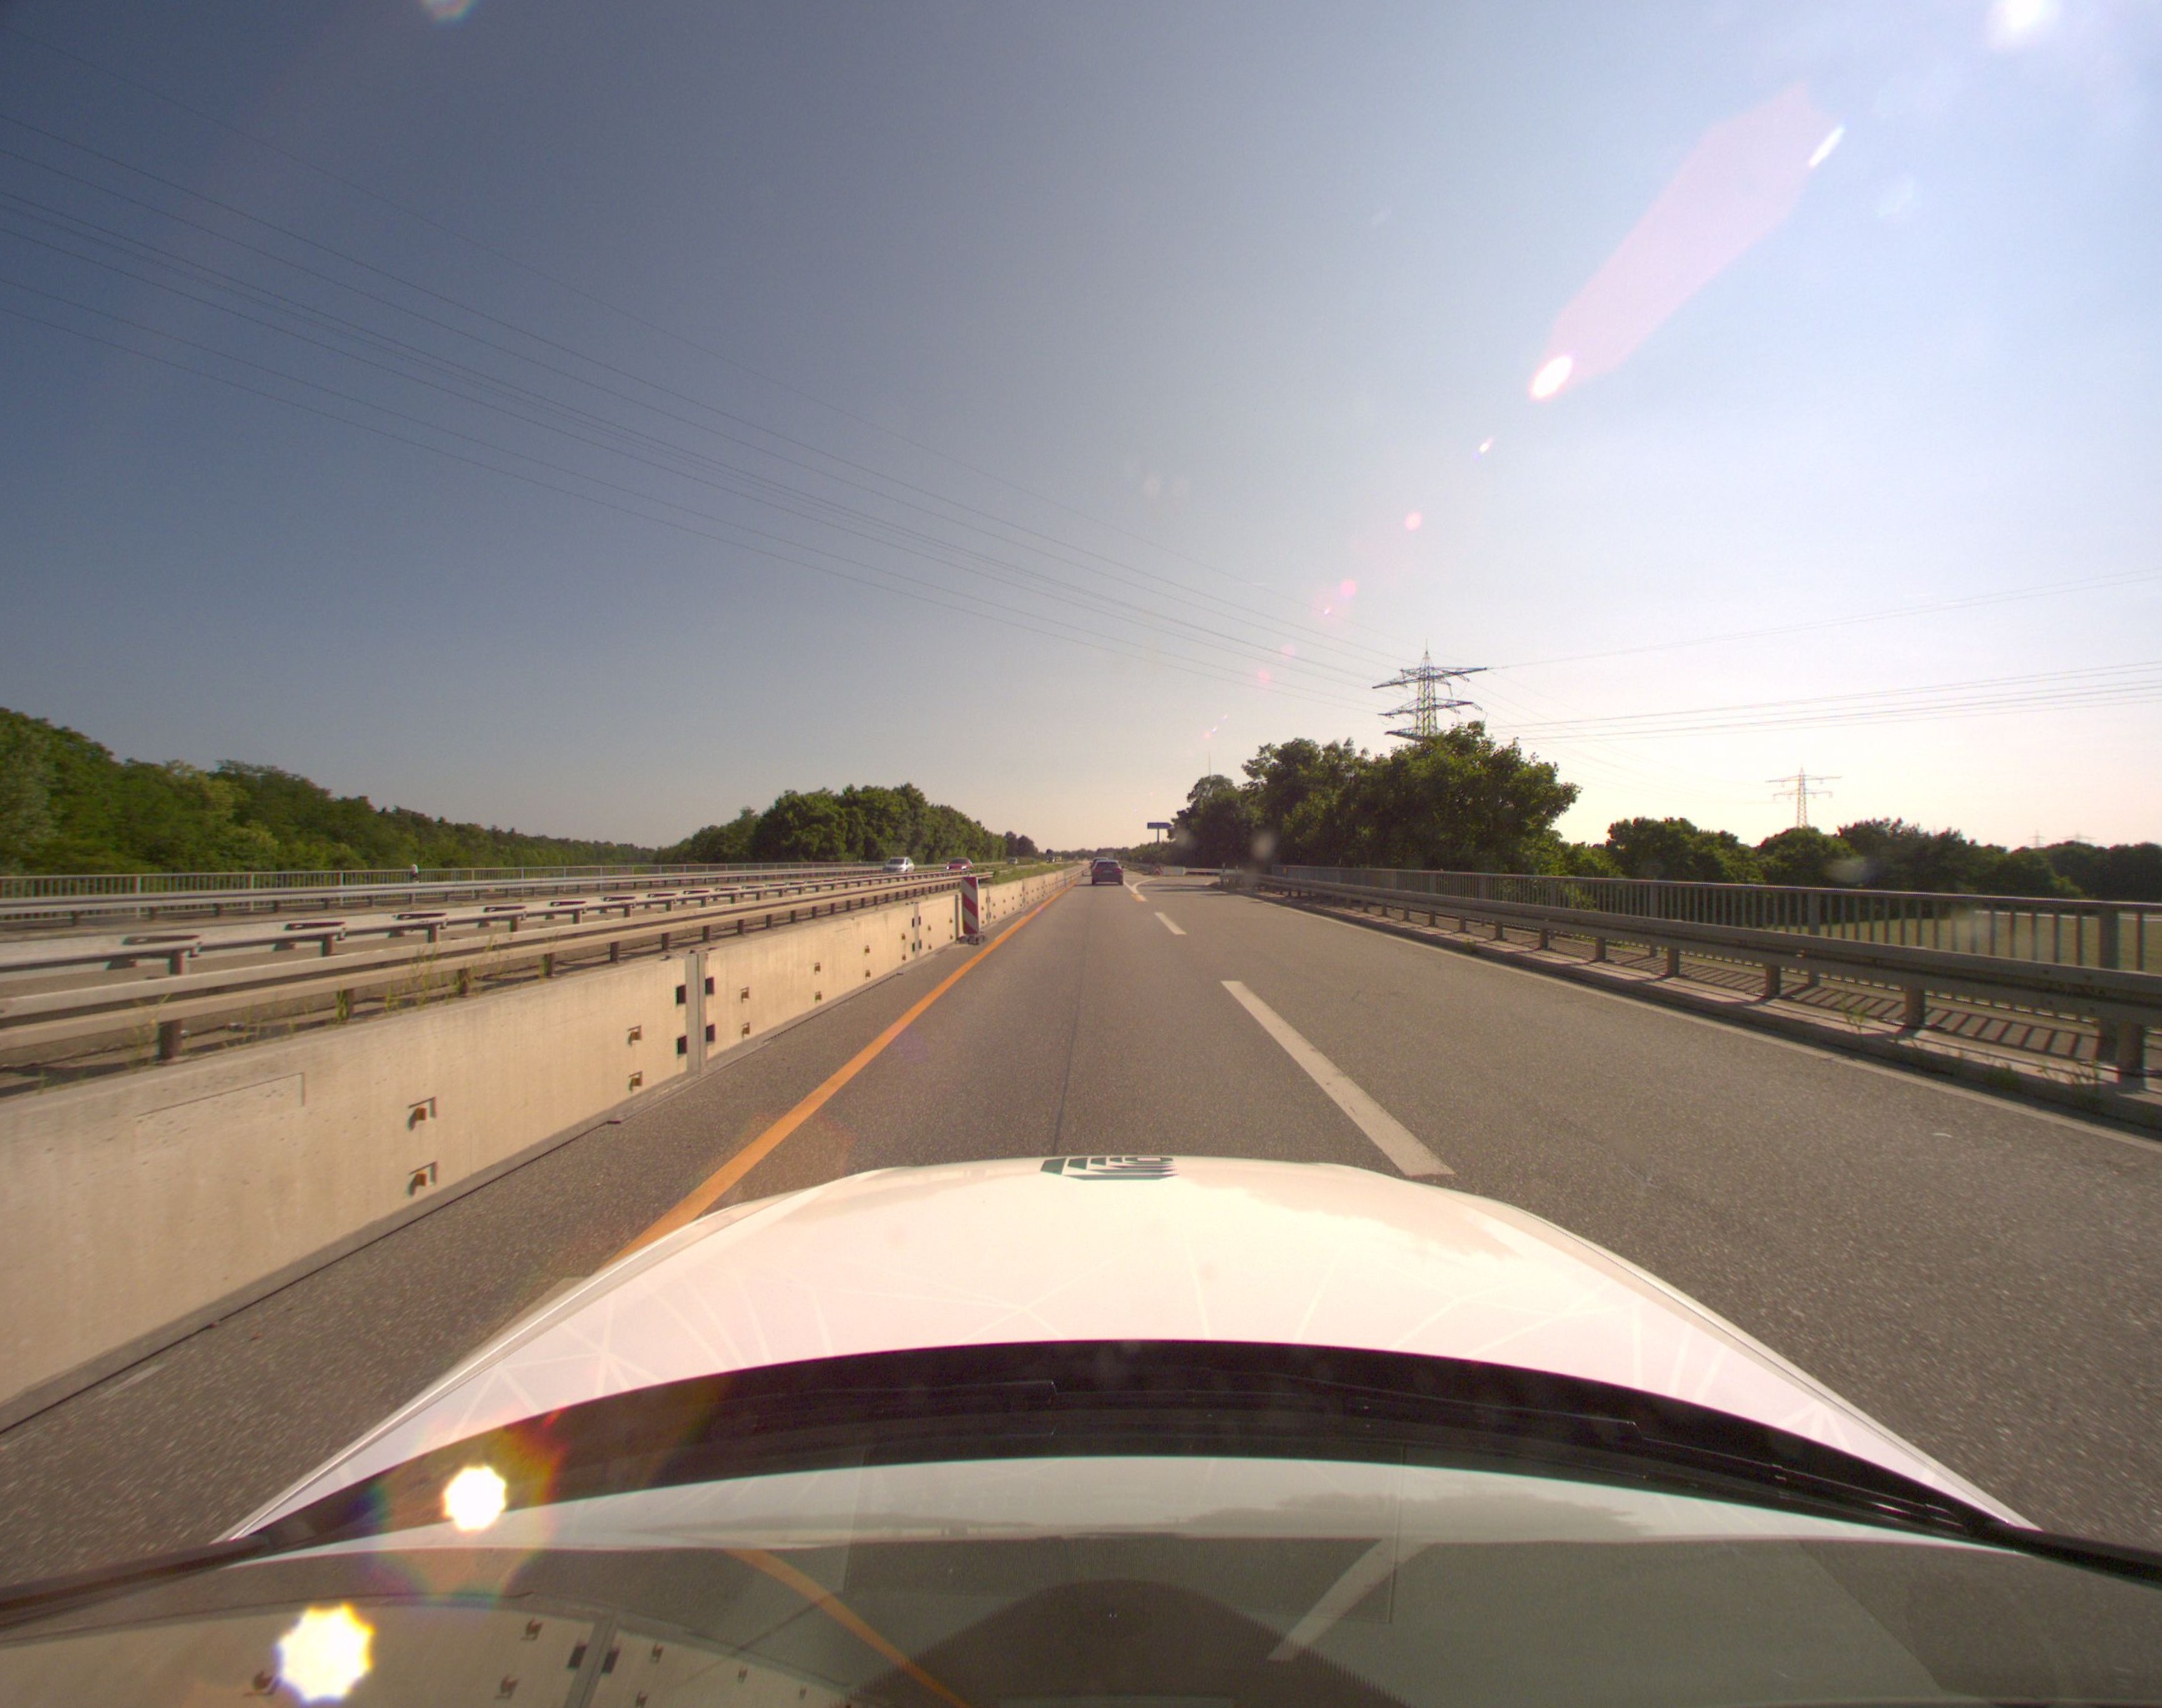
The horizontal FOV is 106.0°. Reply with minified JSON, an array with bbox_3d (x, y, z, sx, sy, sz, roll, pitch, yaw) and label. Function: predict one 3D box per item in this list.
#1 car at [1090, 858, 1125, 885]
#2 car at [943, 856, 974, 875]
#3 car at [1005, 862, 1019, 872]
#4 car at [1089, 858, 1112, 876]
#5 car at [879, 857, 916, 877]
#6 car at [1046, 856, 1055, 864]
[{"bbox_3d":[1.485,0.956,46.653,1.914,1.494,3.999,0,0,0],"label":"car"},{"bbox_3d":[-9.422,0.903,63.072,1.708,1.397,4.221,0,0,1],"label":"car"},{"bbox_3d":[-11.641,2.146,138.061,1.756,1.583,4.424,-1,-1,2],"label":"car"},{"bbox_3d":[1.798,1.137,73.131,1.986,1.567,4.002,-1,0,2],"label":"car"},{"bbox_3d":[-13.849,0.984,61.617,1.771,1.393,4.127,-2,0,1],"label":"car"},{"bbox_3d":[-7.728,1.481,204.655,1.986,2.034,5.170,0,0,1],"label":"car"}]
